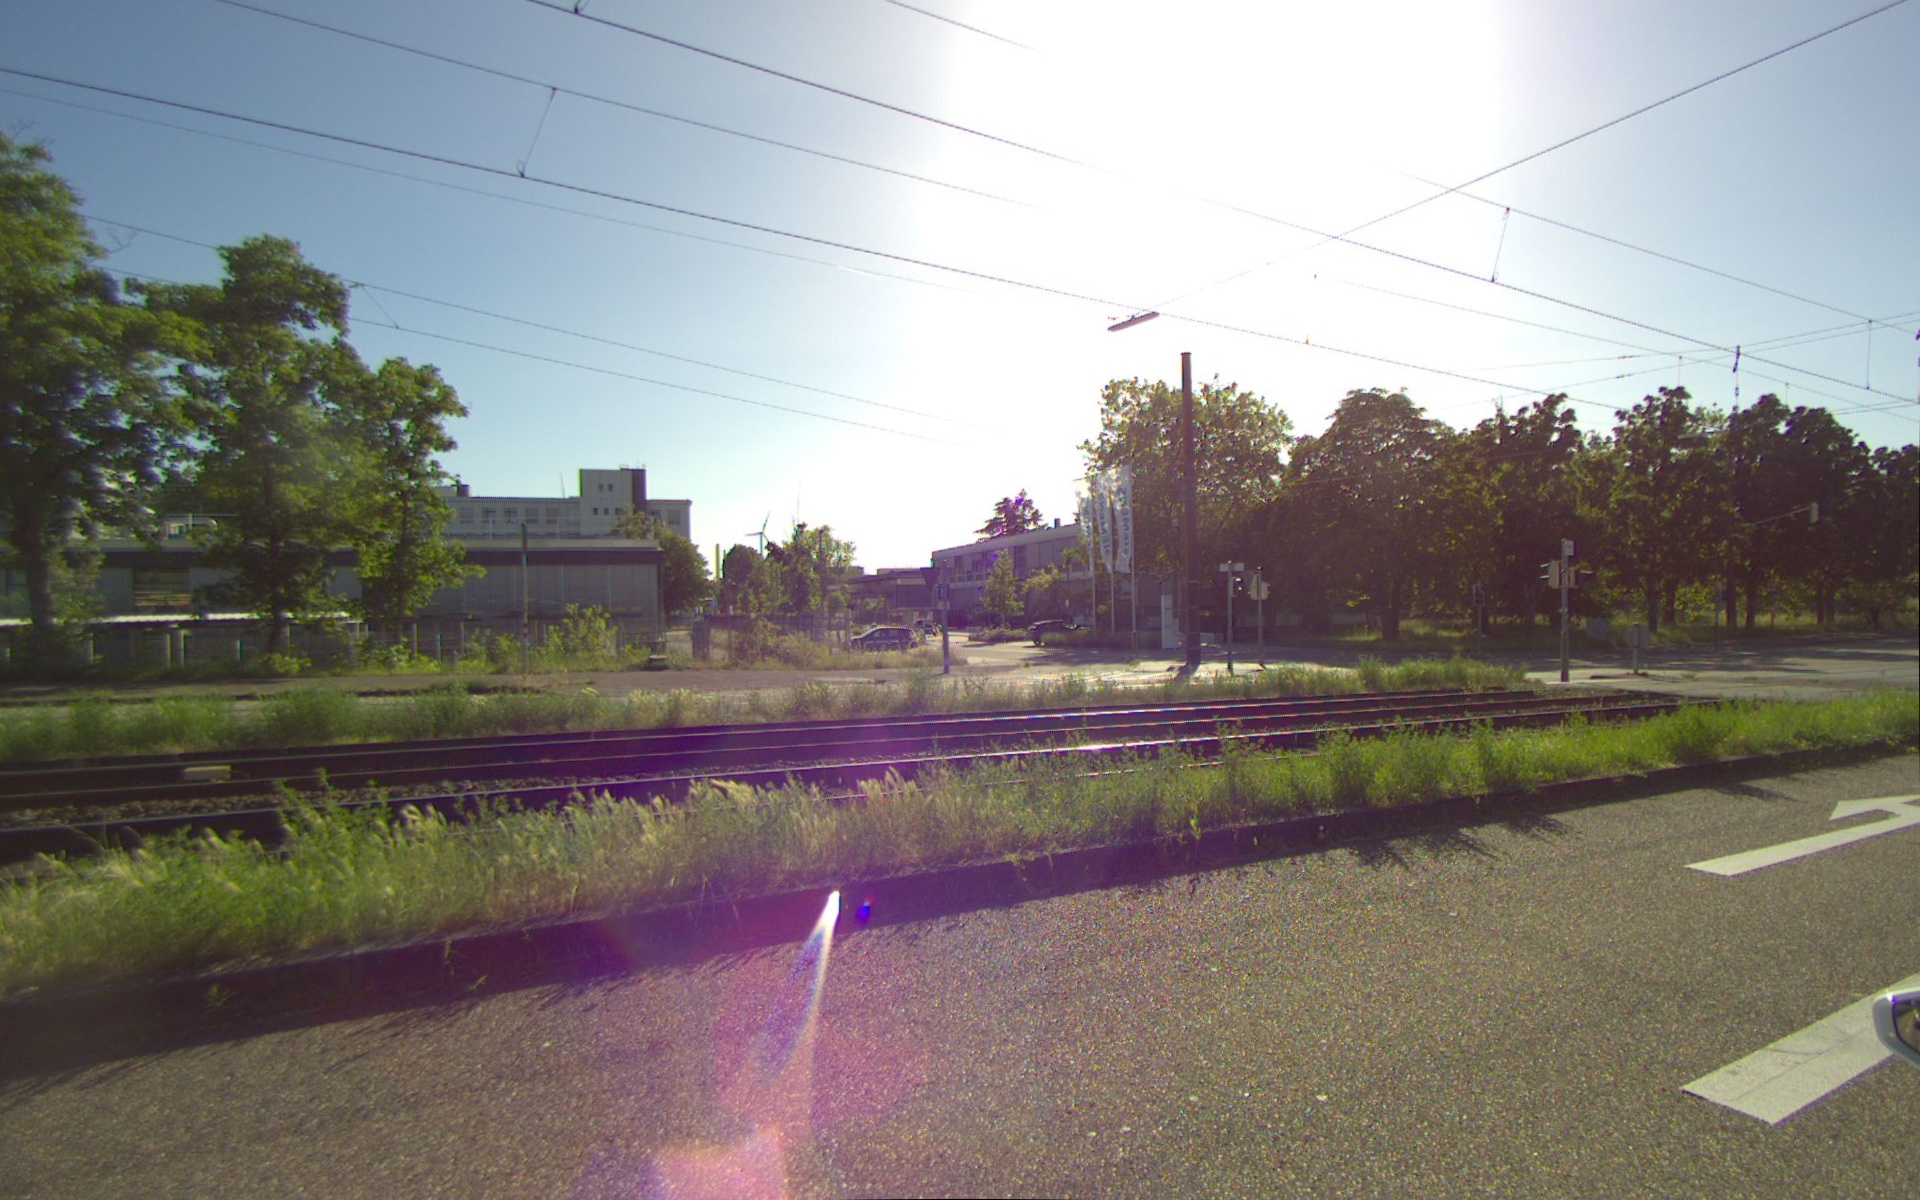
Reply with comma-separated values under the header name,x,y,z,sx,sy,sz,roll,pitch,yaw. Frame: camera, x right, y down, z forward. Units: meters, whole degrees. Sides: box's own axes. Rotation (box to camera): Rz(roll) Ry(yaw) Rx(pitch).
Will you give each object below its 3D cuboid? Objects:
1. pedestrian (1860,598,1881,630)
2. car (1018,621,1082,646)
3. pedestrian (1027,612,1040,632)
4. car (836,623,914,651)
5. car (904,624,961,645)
name,x,y,z,sx,sy,sz,roll,pitch,yaw
pedestrian,59.056,0.883,65.143,0.853,2.040,0.835,0,0,-31
car,5.711,2.101,63.439,3.818,1.508,1.682,0,0,-31
pedestrian,5.810,1.761,79.075,0.809,1.549,0.763,0,0,-13
car,-4.531,1.944,53.454,3.806,1.453,1.688,0,0,-23
car,-2.020,2.500,73.536,3.893,1.471,1.688,0,0,-21
